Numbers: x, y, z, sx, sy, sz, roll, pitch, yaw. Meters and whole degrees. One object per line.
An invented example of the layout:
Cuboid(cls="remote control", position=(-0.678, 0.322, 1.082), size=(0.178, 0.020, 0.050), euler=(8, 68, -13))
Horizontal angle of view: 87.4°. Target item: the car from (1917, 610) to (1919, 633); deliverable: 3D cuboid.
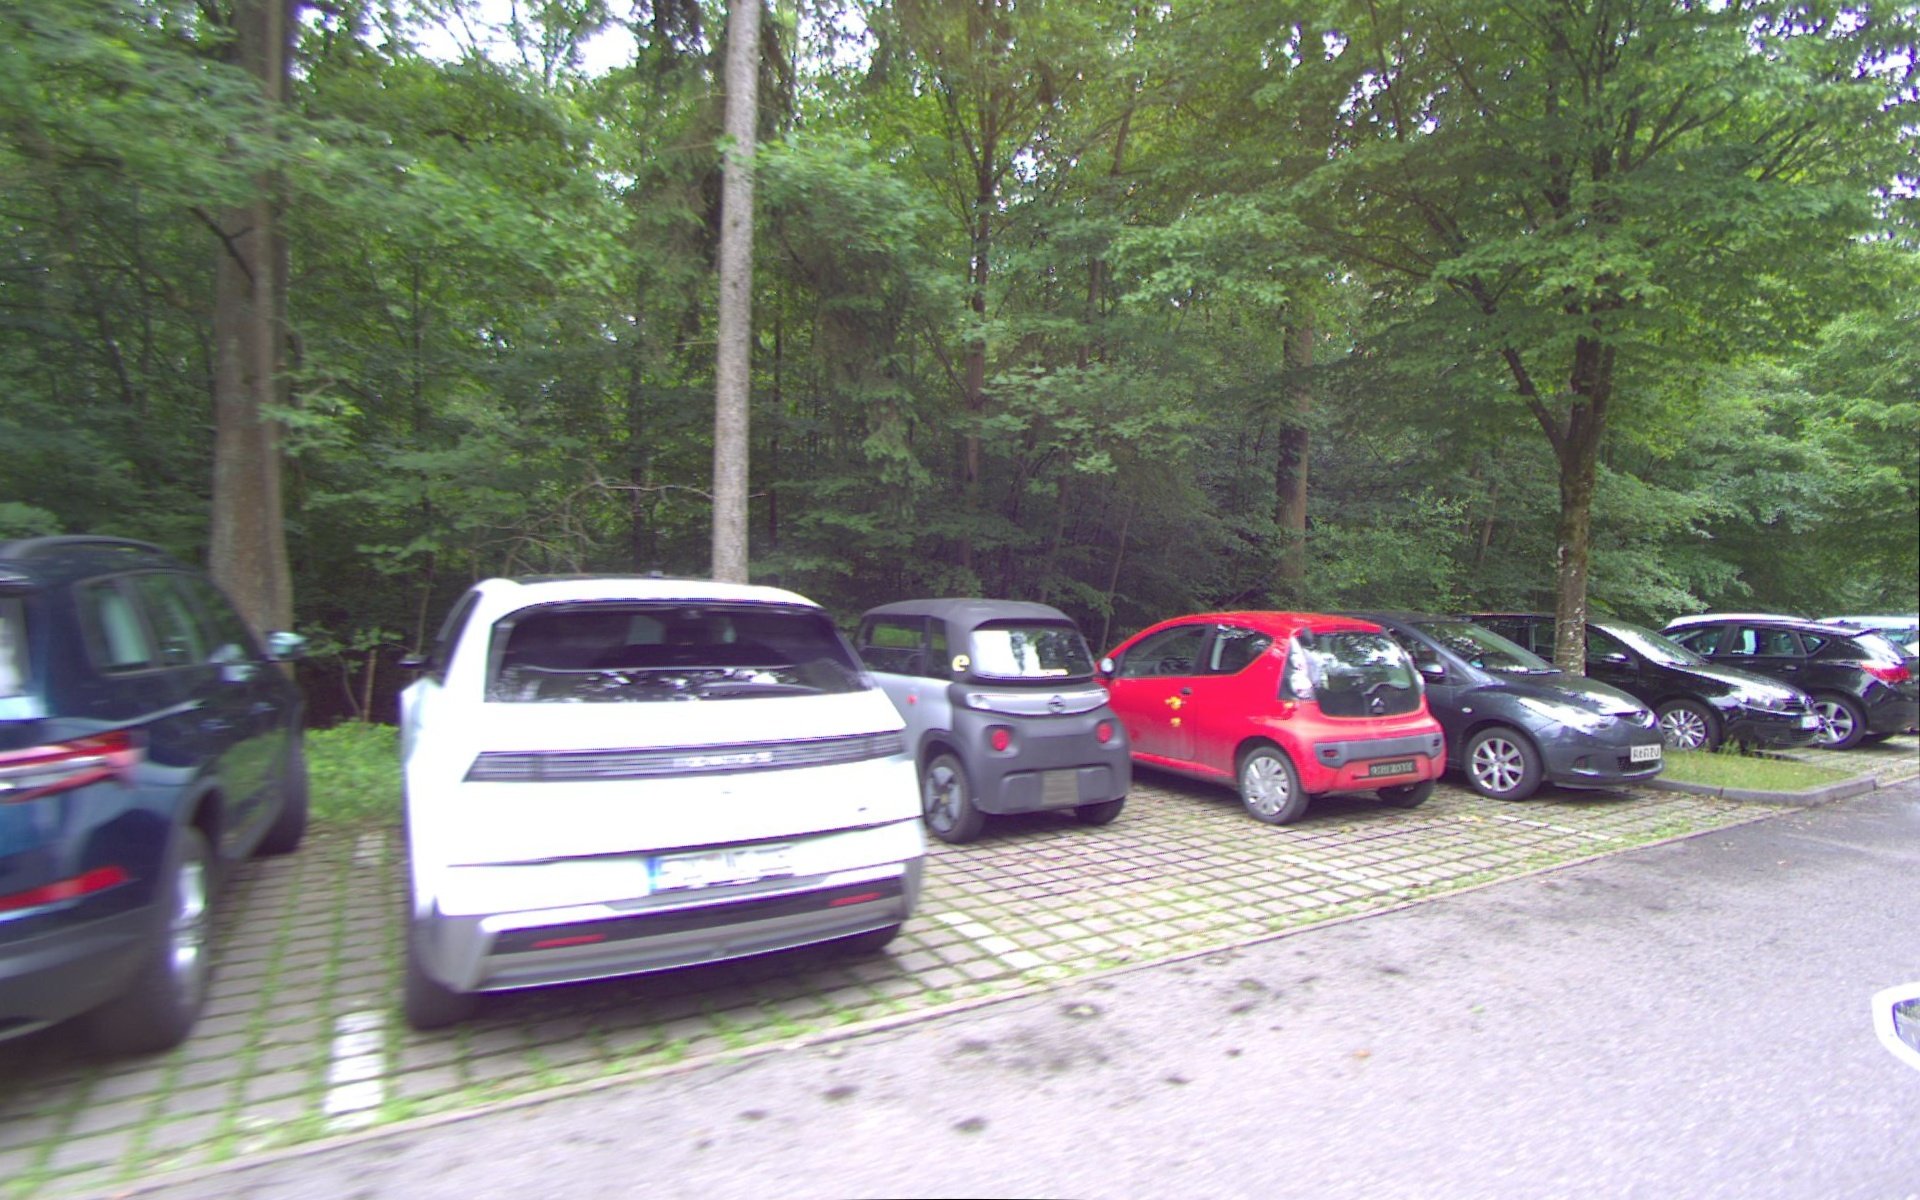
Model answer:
Cuboid(cls="car", position=(76.000, 1.697, 76.763), size=(3.940, 1.841, 2.104), euler=(1, 0, 41))

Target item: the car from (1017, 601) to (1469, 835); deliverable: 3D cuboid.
Cuboid(cls="car", position=(2.161, 0.785, 8.574), size=(1.654, 1.494, 3.590), euler=(0, 1, -30))

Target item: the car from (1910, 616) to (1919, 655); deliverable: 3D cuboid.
Cuboid(cls="car", position=(38.517, 1.396, 37.375), size=(4.512, 1.467, 2.074), euler=(1, 0, 42))

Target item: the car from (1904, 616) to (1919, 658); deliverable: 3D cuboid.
Cuboid(cls="car", position=(36.473, 1.391, 35.624), size=(4.319, 1.506, 1.881), euler=(1, 0, 44))

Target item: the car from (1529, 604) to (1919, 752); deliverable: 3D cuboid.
Cuboid(cls="car", position=(10.226, 0.881, 13.343), size=(1.985, 1.550, 4.208), euler=(1, 0, -33))

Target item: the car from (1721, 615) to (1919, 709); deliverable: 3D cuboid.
Cuboid(cls="car", position=(16.379, 1.061, 17.501), size=(2.075, 1.497, 4.605), euler=(1, 0, -37))

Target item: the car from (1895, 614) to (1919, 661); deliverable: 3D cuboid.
Cuboid(cls="car", position=(32.877, 1.253, 32.046), size=(2.041, 1.506, 4.229), euler=(1, 0, -40))

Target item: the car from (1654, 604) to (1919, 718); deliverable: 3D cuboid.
Cuboid(cls="car", position=(14.238, 0.926, 16.575), size=(1.953, 1.669, 4.200), euler=(1, 0, -38))

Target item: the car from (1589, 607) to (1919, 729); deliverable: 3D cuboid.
Cuboid(cls="car", position=(12.187, 0.918, 15.187), size=(1.746, 1.554, 4.202), euler=(1, 0, -37))

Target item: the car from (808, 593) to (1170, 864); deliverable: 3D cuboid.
Cuboid(cls="car", position=(0.085, 0.763, 7.463), size=(1.430, 1.562, 2.644), euler=(0, 1, -33))

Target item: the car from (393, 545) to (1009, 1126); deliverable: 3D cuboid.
Cuboid(cls="car", position=(-1.744, 0.658, 5.198), size=(2.006, 1.619, 4.335), euler=(1, 0, -29))

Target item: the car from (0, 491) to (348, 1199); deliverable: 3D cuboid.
Cuboid(cls="car", position=(-3.904, 0.550, 4.033), size=(2.143, 1.717, 4.408), euler=(0, 1, -27))

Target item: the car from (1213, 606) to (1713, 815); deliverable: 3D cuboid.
Cuboid(cls="car", position=(4.498, 0.835, 9.561), size=(1.690, 1.511, 3.962), euler=(0, 0, -34))

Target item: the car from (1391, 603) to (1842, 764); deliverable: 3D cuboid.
Cuboid(cls="car", position=(7.602, 0.847, 12.071), size=(1.702, 1.493, 4.207), euler=(2, 0, -34))

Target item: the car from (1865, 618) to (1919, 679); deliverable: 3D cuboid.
Cuboid(cls="car", position=(24.050, 1.181, 23.760), size=(1.856, 1.438, 3.697), euler=(1, 0, -39))

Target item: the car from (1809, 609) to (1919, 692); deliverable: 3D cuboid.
Cuboid(cls="car", position=(20.327, 1.050, 20.671), size=(1.975, 1.650, 3.941), euler=(1, 0, -30))

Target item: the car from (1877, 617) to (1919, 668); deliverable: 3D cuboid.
Cuboid(cls="car", position=(29.240, 1.260, 28.637), size=(2.019, 1.443, 4.367), euler=(1, 0, -40))
